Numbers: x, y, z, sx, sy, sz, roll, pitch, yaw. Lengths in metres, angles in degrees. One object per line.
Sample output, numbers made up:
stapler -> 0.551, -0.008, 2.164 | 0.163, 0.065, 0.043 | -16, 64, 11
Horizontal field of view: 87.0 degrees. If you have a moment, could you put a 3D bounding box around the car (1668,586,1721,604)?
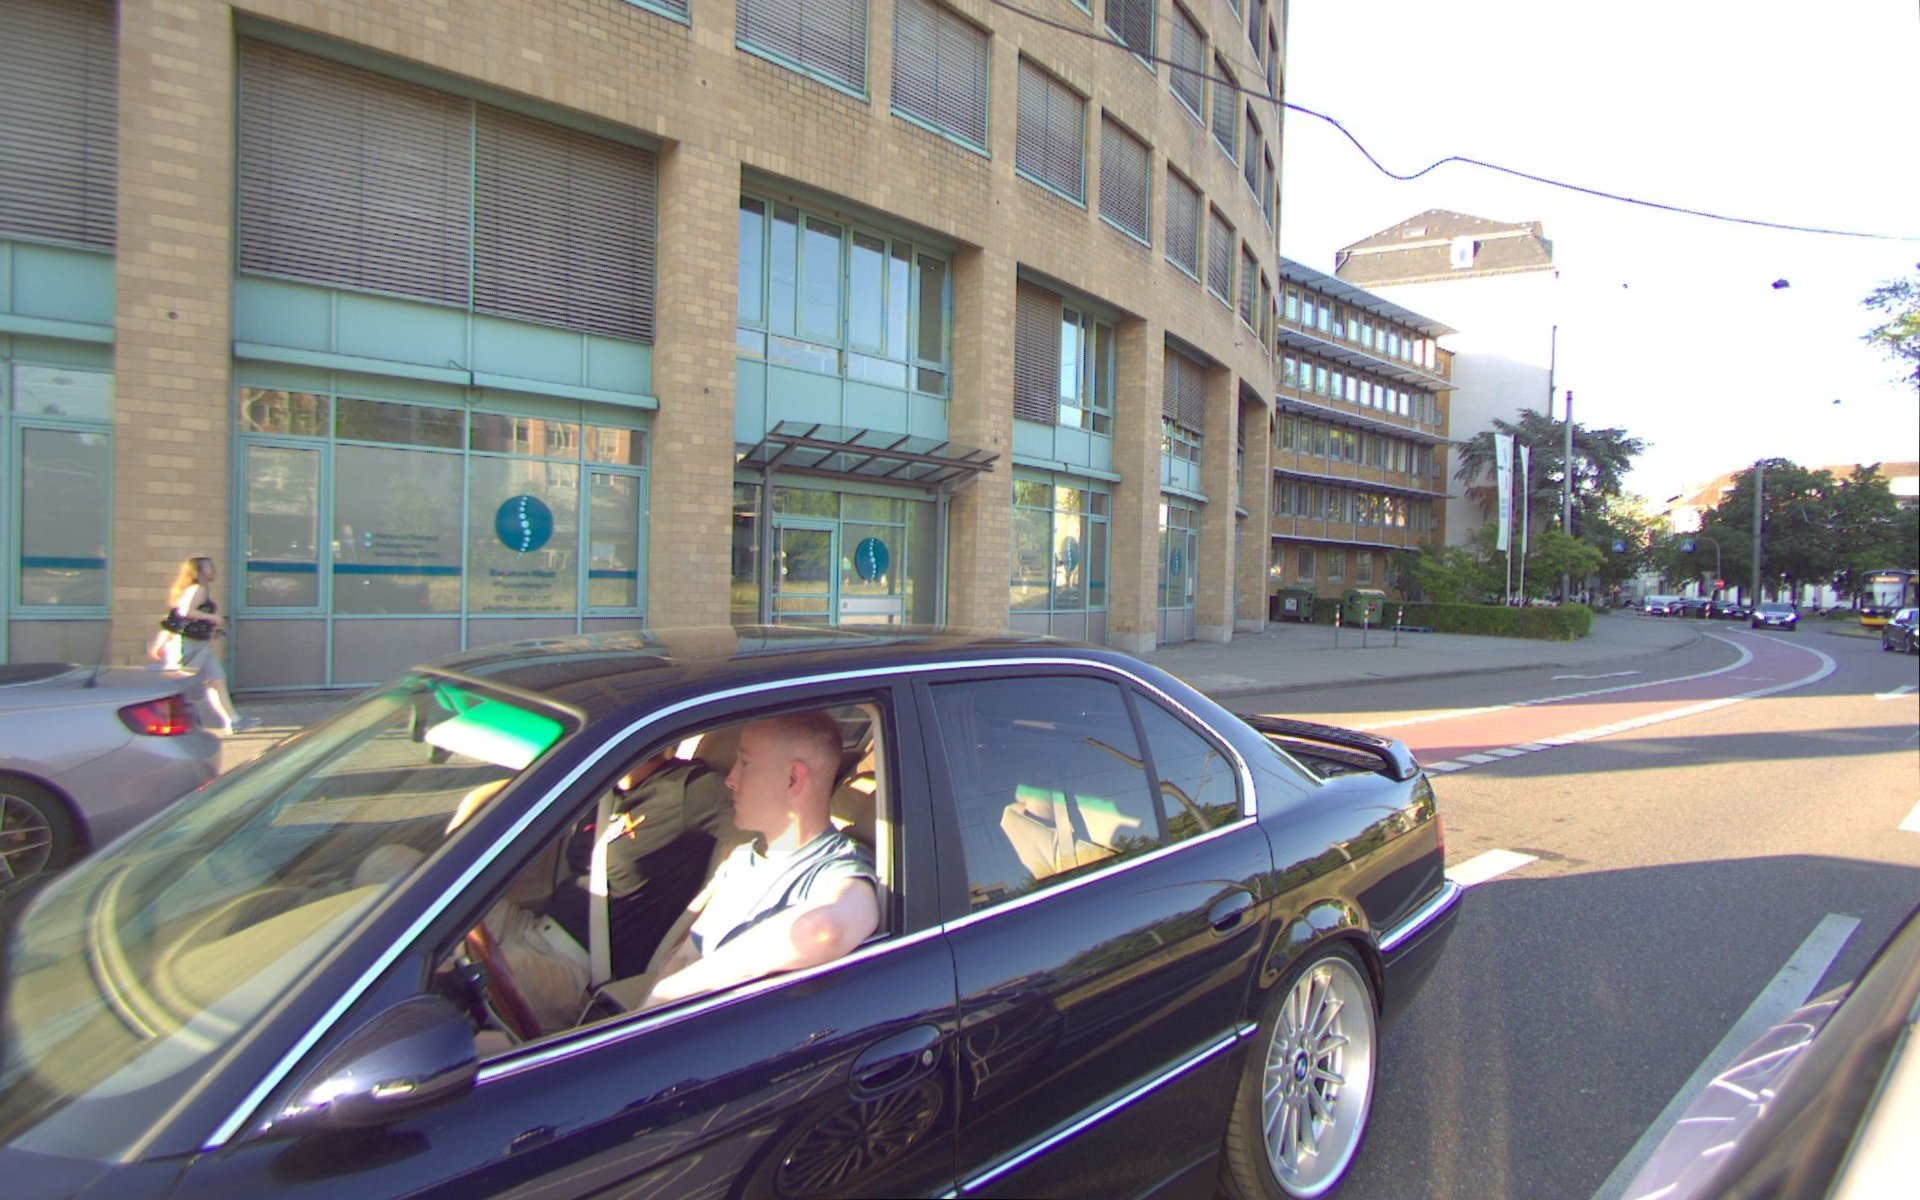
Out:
car -> 73.339, -0.530, 101.112 | 4.055, 1.571, 1.969 | 3, 1, 43

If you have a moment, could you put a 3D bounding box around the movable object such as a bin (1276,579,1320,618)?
movable object such as a bin -> 13.174, -0.059, 39.439 | 1.340, 1.442, 0.910 | 3, 1, 42

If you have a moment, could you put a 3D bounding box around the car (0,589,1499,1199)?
car -> -0.666, 0.693, 2.252 | 4.560, 1.371, 1.833 | 1, 0, -42

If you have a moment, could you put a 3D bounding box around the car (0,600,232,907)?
car -> -5.902, 0.685, 4.486 | 4.192, 1.371, 1.786 | 1, 0, -41

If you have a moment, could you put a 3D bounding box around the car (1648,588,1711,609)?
car -> 76.927, -0.166, 108.241 | 1.932, 2.047, 5.078 | 2, 1, -39

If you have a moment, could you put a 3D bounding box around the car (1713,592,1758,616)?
car -> 54.090, 0.293, 70.652 | 1.805, 1.501, 4.093 | 3, 1, 29

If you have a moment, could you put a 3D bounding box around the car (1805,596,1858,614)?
car -> 91.312, 0.500, 106.116 | 1.672, 1.746, 4.007 | 2, 1, -42

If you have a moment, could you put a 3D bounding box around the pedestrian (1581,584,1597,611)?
pedestrian -> 42.332, -0.179, 68.119 | 0.805, 1.814, 0.593 | 2, 0, -30

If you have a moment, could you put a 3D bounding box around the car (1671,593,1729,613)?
car -> 67.584, 0.287, 92.500 | 4.055, 1.571, 1.969 | 3, 1, 43

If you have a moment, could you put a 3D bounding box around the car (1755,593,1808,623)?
car -> 45.367, 0.447, 55.949 | 1.809, 1.501, 4.085 | 3, 1, 34

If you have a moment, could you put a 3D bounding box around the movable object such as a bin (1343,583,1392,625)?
movable object such as a bin -> 14.855, 0.125, 36.916 | 1.317, 1.455, 0.976 | 2, 0, -22

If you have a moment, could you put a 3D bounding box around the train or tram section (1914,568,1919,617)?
train or tram section -> 68.277, -0.406, 66.704 | 12.587, 3.180, 2.938 | 0, 1, -23

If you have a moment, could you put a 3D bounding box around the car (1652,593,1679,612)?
car -> 60.800, 0.203, 87.263 | 1.809, 1.501, 4.084 | 2, 0, 34

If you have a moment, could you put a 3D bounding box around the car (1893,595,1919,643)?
car -> 31.425, 0.644, 32.150 | 1.807, 1.501, 4.089 | 3, 1, 31

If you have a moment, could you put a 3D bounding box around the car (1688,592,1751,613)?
car -> 63.516, 0.184, 84.666 | 4.055, 1.576, 1.837 | 3, 1, 43

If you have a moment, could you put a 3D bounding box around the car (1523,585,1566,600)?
car -> 71.826, -0.906, 124.429 | 4.356, 1.633, 1.713 | 3, 1, 27

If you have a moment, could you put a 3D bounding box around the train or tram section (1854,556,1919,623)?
train or tram section -> 57.330, -0.611, 60.301 | 13.111, 3.629, 2.951 | 0, 1, -35

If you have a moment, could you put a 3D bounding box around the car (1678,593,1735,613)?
car -> 69.462, 0.313, 94.133 | 4.055, 1.638, 1.969 | 3, 1, 43

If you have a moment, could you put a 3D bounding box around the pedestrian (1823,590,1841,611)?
pedestrian -> 88.762, 0.032, 103.006 | 0.988, 2.039, 0.831 | 2, 0, -12

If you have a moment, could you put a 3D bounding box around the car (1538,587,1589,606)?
car -> 56.997, -0.301, 95.693 | 4.034, 1.589, 1.818 | 3, 1, 30

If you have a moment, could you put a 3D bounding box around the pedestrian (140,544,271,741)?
pedestrian -> -6.451, 0.337, 8.654 | 0.786, 1.589, 0.677 | 2, 0, -43

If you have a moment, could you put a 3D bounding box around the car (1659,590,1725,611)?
car -> 75.771, 0.030, 104.817 | 2.083, 1.926, 5.078 | 2, 1, -39
